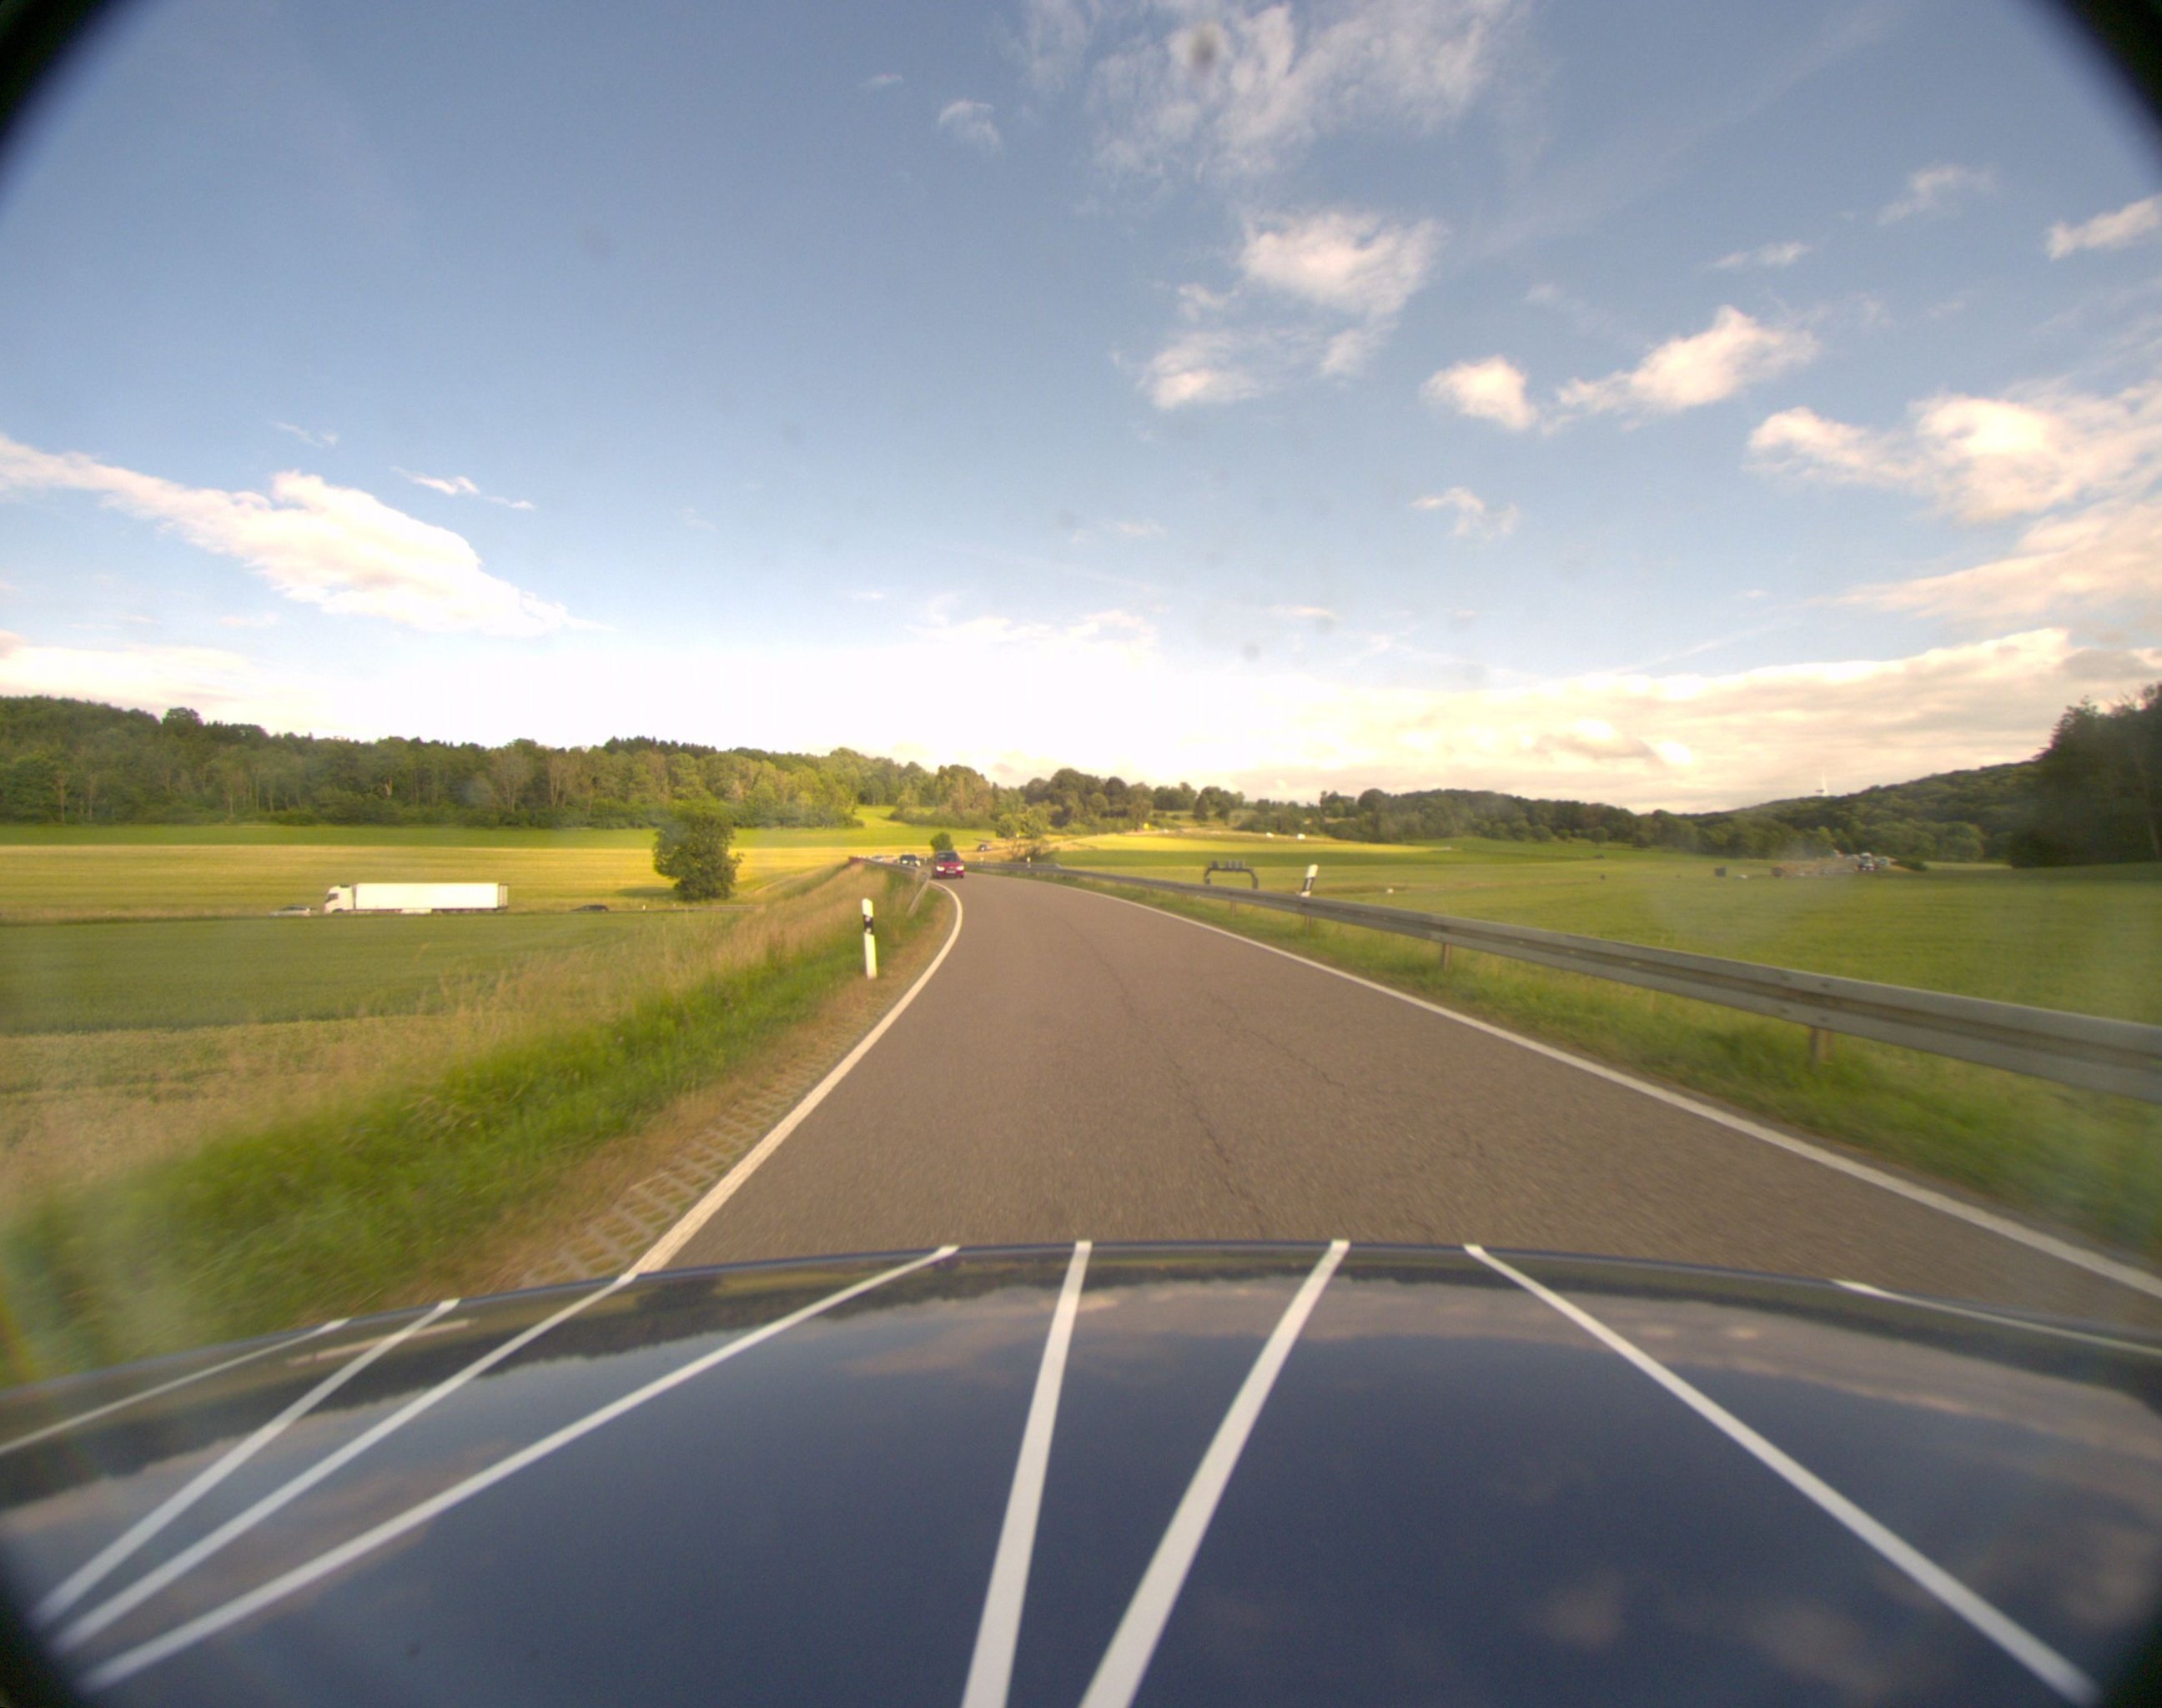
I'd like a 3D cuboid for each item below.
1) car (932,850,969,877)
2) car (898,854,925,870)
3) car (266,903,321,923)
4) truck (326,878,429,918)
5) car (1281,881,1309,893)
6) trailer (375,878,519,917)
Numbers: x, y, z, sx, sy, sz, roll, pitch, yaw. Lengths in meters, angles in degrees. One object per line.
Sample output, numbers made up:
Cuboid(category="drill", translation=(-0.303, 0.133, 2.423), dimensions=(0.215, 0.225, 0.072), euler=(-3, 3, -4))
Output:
Cuboid(category="car", translation=(-8.678, 0.627, 50.311), dimensions=(1.823, 1.645, 3.994), euler=(-3, 1, -18))
Cuboid(category="car", translation=(-17.278, 0.775, 77.327), dimensions=(1.825, 1.601, 3.992), euler=(0, 0, -25))
Cuboid(category="car", translation=(-82.767, 6.212, 79.940), dimensions=(3.469, 1.634, 1.758), euler=(-2, 4, -17))
Cuboid(category="truck", translation=(-81.107, 5.014, 87.806), dimensions=(8.062, 4.440, 3.026), euler=(1, -2, -17))
Cuboid(category="car", translation=(33.092, 5.136, 117.521), dimensions=(4.005, 1.640, 1.824), euler=(0, 1, -23))
Cuboid(category="trailer", translation=(-74.619, 5.104, 89.821), dimensions=(12.737, 4.440, 3.029), euler=(1, -2, -17))
